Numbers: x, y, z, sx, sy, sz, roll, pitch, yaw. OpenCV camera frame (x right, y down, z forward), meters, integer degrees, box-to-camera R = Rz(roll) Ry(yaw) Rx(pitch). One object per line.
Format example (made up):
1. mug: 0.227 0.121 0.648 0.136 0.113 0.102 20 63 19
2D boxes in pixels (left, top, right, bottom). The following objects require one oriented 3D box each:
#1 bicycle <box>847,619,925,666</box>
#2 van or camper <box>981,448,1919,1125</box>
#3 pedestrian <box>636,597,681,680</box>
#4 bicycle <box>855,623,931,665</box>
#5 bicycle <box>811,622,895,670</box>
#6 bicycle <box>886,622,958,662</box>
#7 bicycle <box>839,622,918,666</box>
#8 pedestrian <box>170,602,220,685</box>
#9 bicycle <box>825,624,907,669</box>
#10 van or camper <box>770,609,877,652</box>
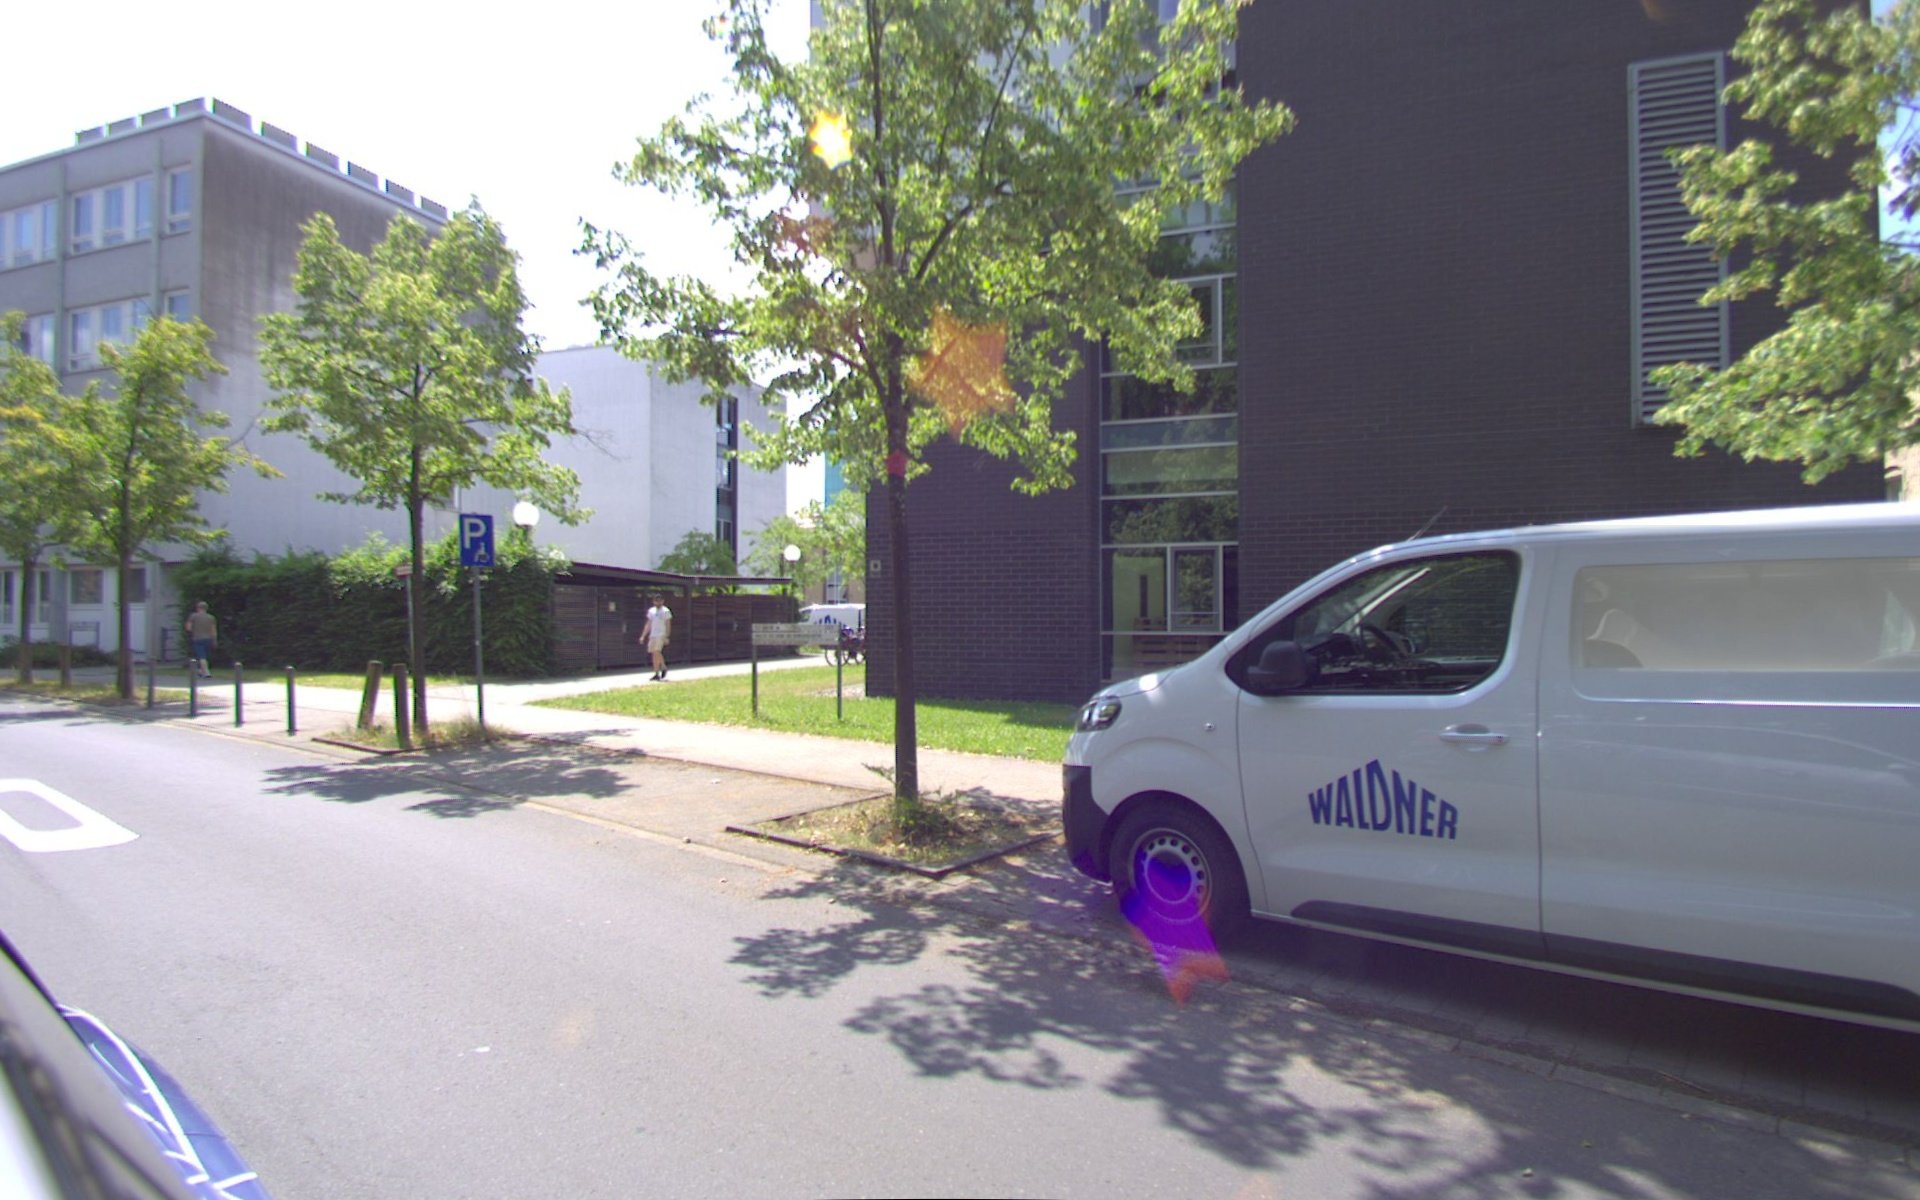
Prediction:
1. bicycle: -1.994 1.145 27.281 2.033 1.252 0.578 -1 -2 19
2. van or camper: 2.791 0.542 4.129 5.416 1.938 1.933 -1 -1 41
3. pedestrian: -6.378 0.810 21.421 0.686 1.733 0.611 -1 -2 28
4. bicycle: -1.849 1.195 27.898 2.033 1.131 0.578 -1 -2 19
5. bicycle: -2.680 1.135 25.223 2.033 1.171 0.578 -1 -2 19
6. bicycle: -1.112 1.206 29.226 2.033 1.131 0.499 -1 -2 19
7. bicycle: -2.150 1.159 26.655 2.033 1.131 0.578 -1 -2 19
8. pedestrian: -16.929 0.954 22.399 0.908 1.778 0.579 -1 -2 32
9. bicycle: -2.409 1.180 25.892 2.033 1.131 0.578 -1 -2 19
10. van or camper: -5.676 1.267 42.148 4.066 1.752 1.747 -1 -1 17
